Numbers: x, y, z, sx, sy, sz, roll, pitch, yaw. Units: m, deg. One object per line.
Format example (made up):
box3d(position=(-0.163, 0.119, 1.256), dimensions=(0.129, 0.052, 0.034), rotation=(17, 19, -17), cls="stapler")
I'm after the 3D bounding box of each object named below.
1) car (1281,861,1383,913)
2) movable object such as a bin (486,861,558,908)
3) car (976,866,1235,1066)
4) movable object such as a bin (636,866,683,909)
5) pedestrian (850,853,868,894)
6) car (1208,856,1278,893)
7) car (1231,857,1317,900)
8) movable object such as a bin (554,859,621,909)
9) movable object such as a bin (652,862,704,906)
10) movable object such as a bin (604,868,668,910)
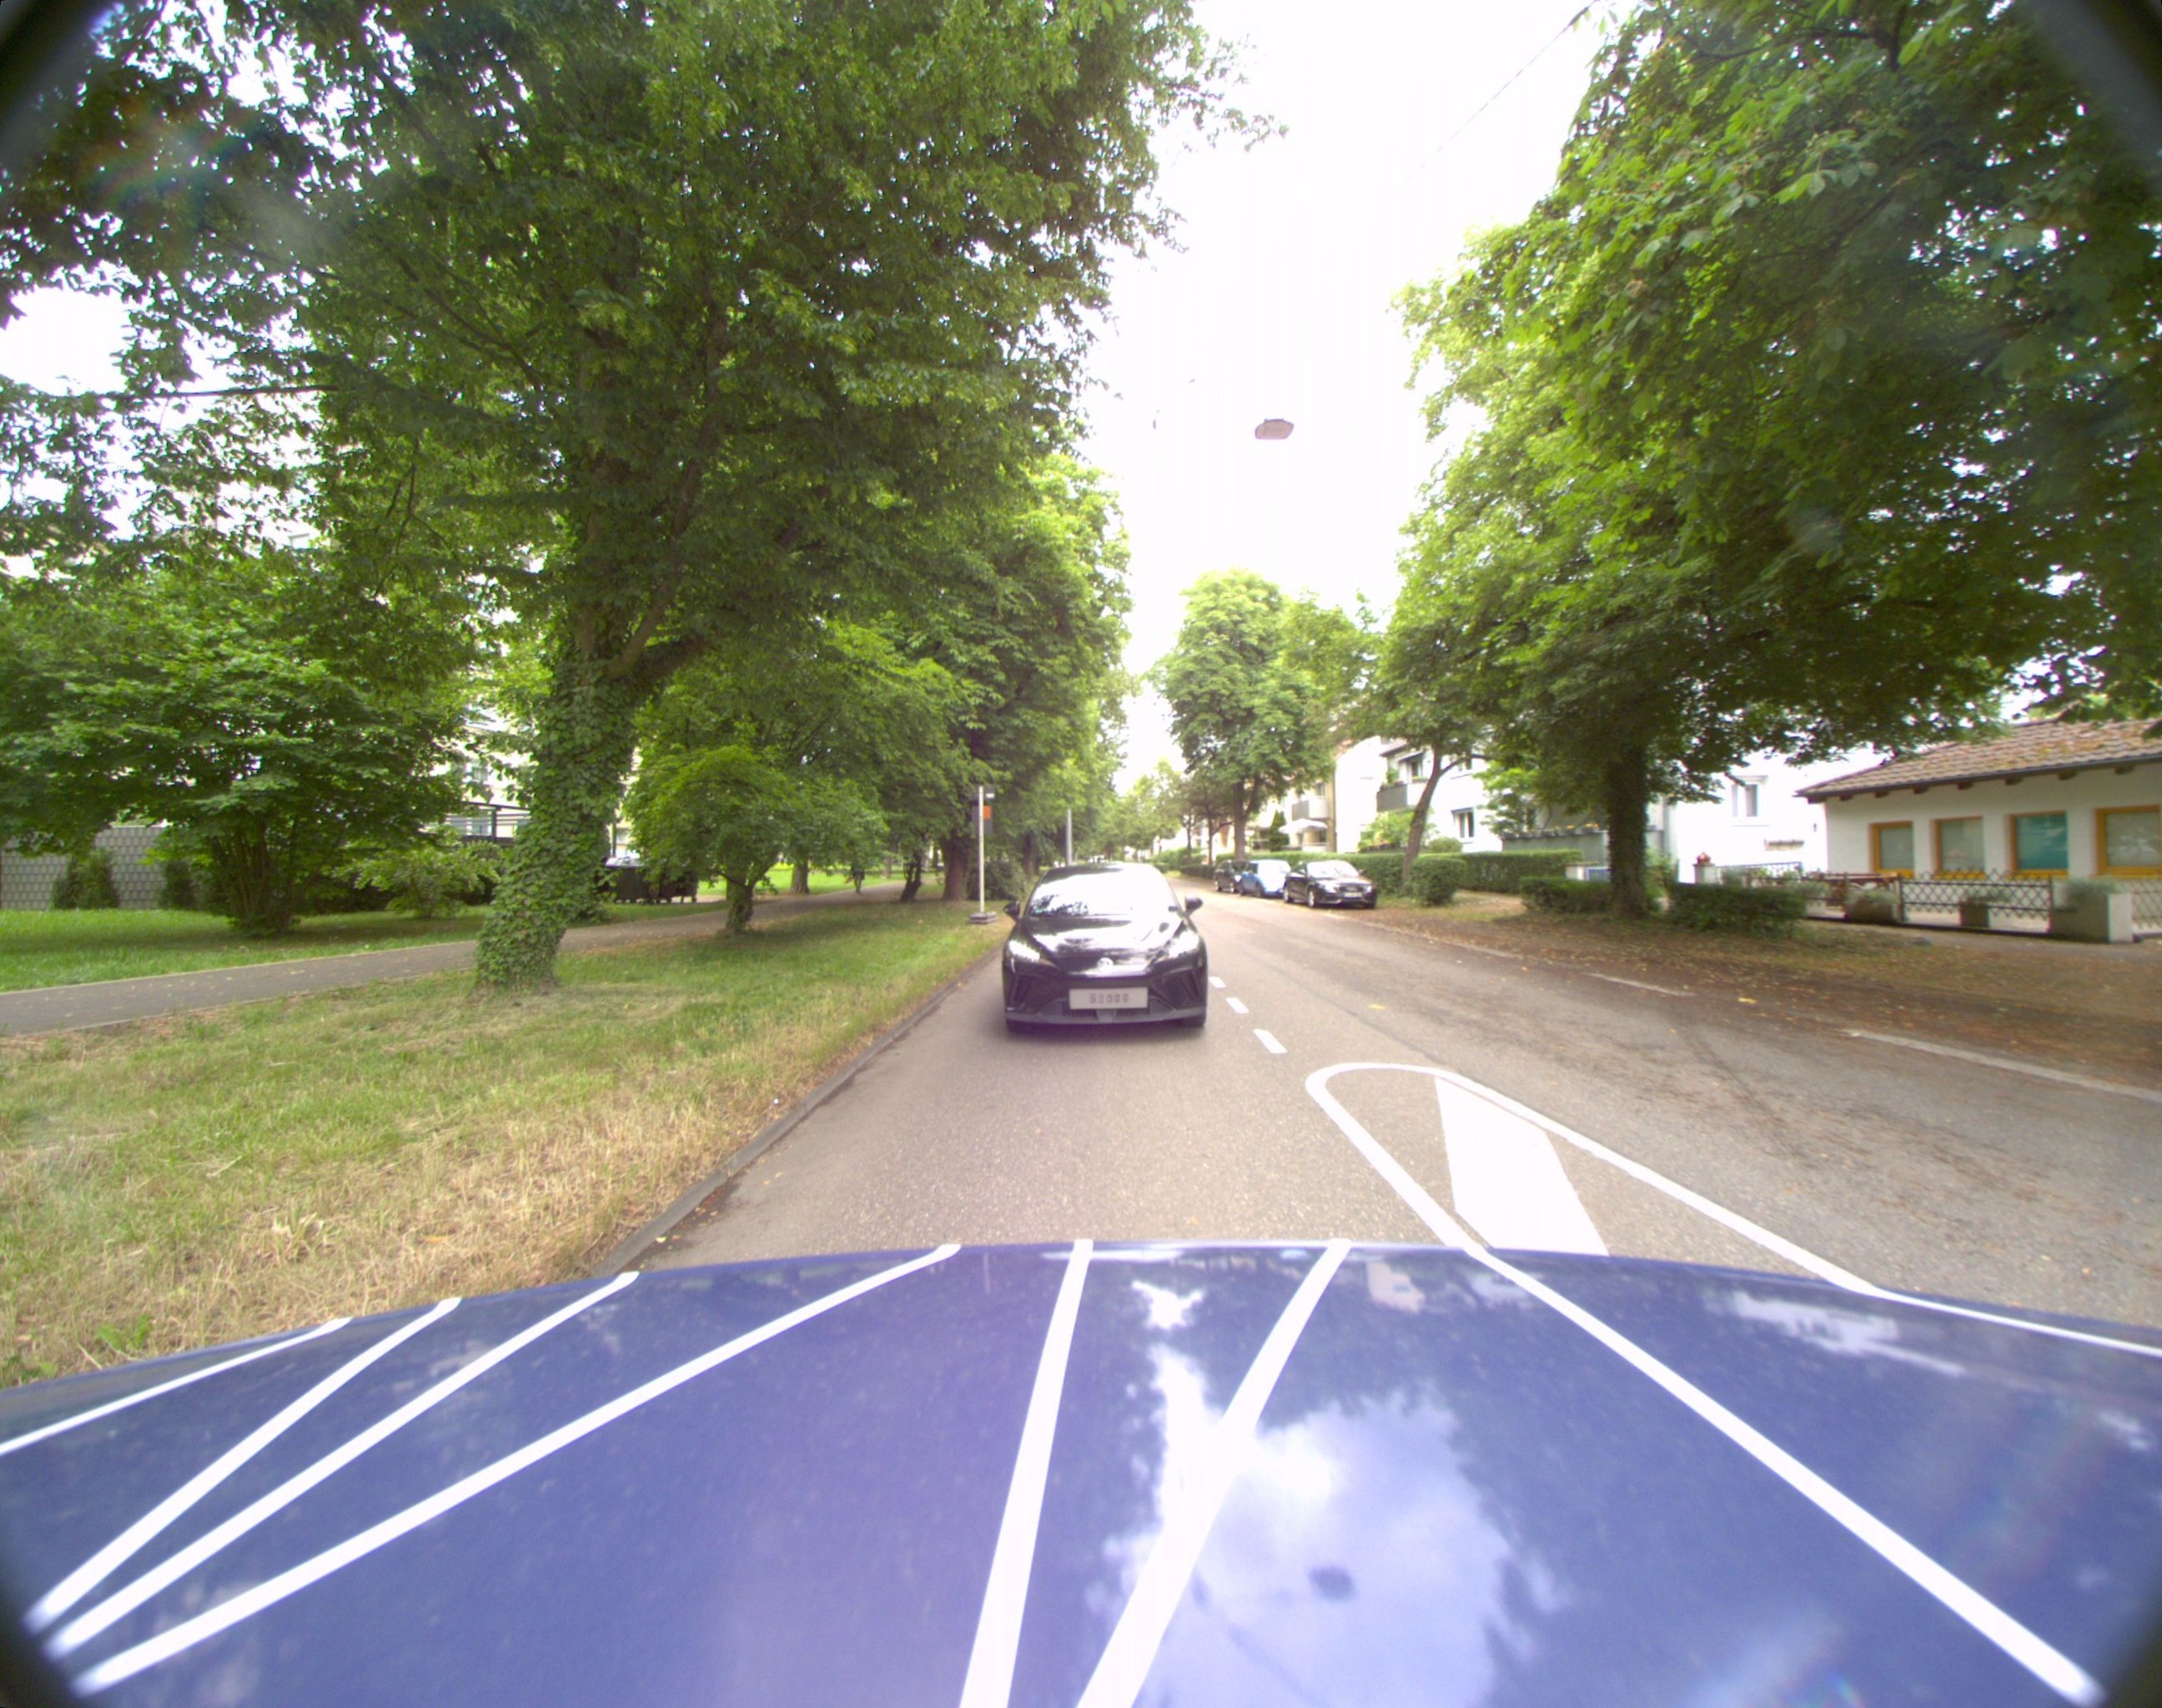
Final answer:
box3d(position=(7.410, 0.912, 22.883), dimensions=(1.735, 1.394, 4.172), rotation=(0, 0, 1), cls="car")
box3d(position=(-16.509, 0.889, 22.490), dimensions=(1.194, 1.334, 1.348), rotation=(0, 0, -8), cls="movable object such as a bin")
box3d(position=(0.213, 0.907, 8.177), dimensions=(1.998, 1.491, 4.615), rotation=(0, 0, 1), cls="car")
box3d(position=(-13.235, 1.041, 23.884), dimensions=(1.026, 1.296, 0.960), rotation=(0, 0, -8), cls="movable object such as a bin")
box3d(position=(-9.570, 0.835, 32.777), dimensions=(0.565, 1.730, 0.570), rotation=(1, 0, 0), cls="pedestrian")
box3d(position=(7.081, 0.878, 33.658), dimensions=(1.889, 1.524, 4.565), rotation=(0, 0, -3), cls="car")
box3d(position=(7.211, 0.876, 28.904), dimensions=(1.889, 1.492, 4.565), rotation=(0, 0, -3), cls="car")
box3d(position=(-14.568, 0.865, 22.492), dimensions=(1.194, 1.448, 1.348), rotation=(0, 0, -8), cls="movable object such as a bin")
box3d(position=(-13.239, 0.981, 24.977), dimensions=(1.194, 1.405, 1.110), rotation=(0, 0, -8), cls="movable object such as a bin")
box3d(position=(-13.251, 1.022, 22.685), dimensions=(1.194, 1.213, 1.348), rotation=(0, 0, -8), cls="movable object such as a bin")
